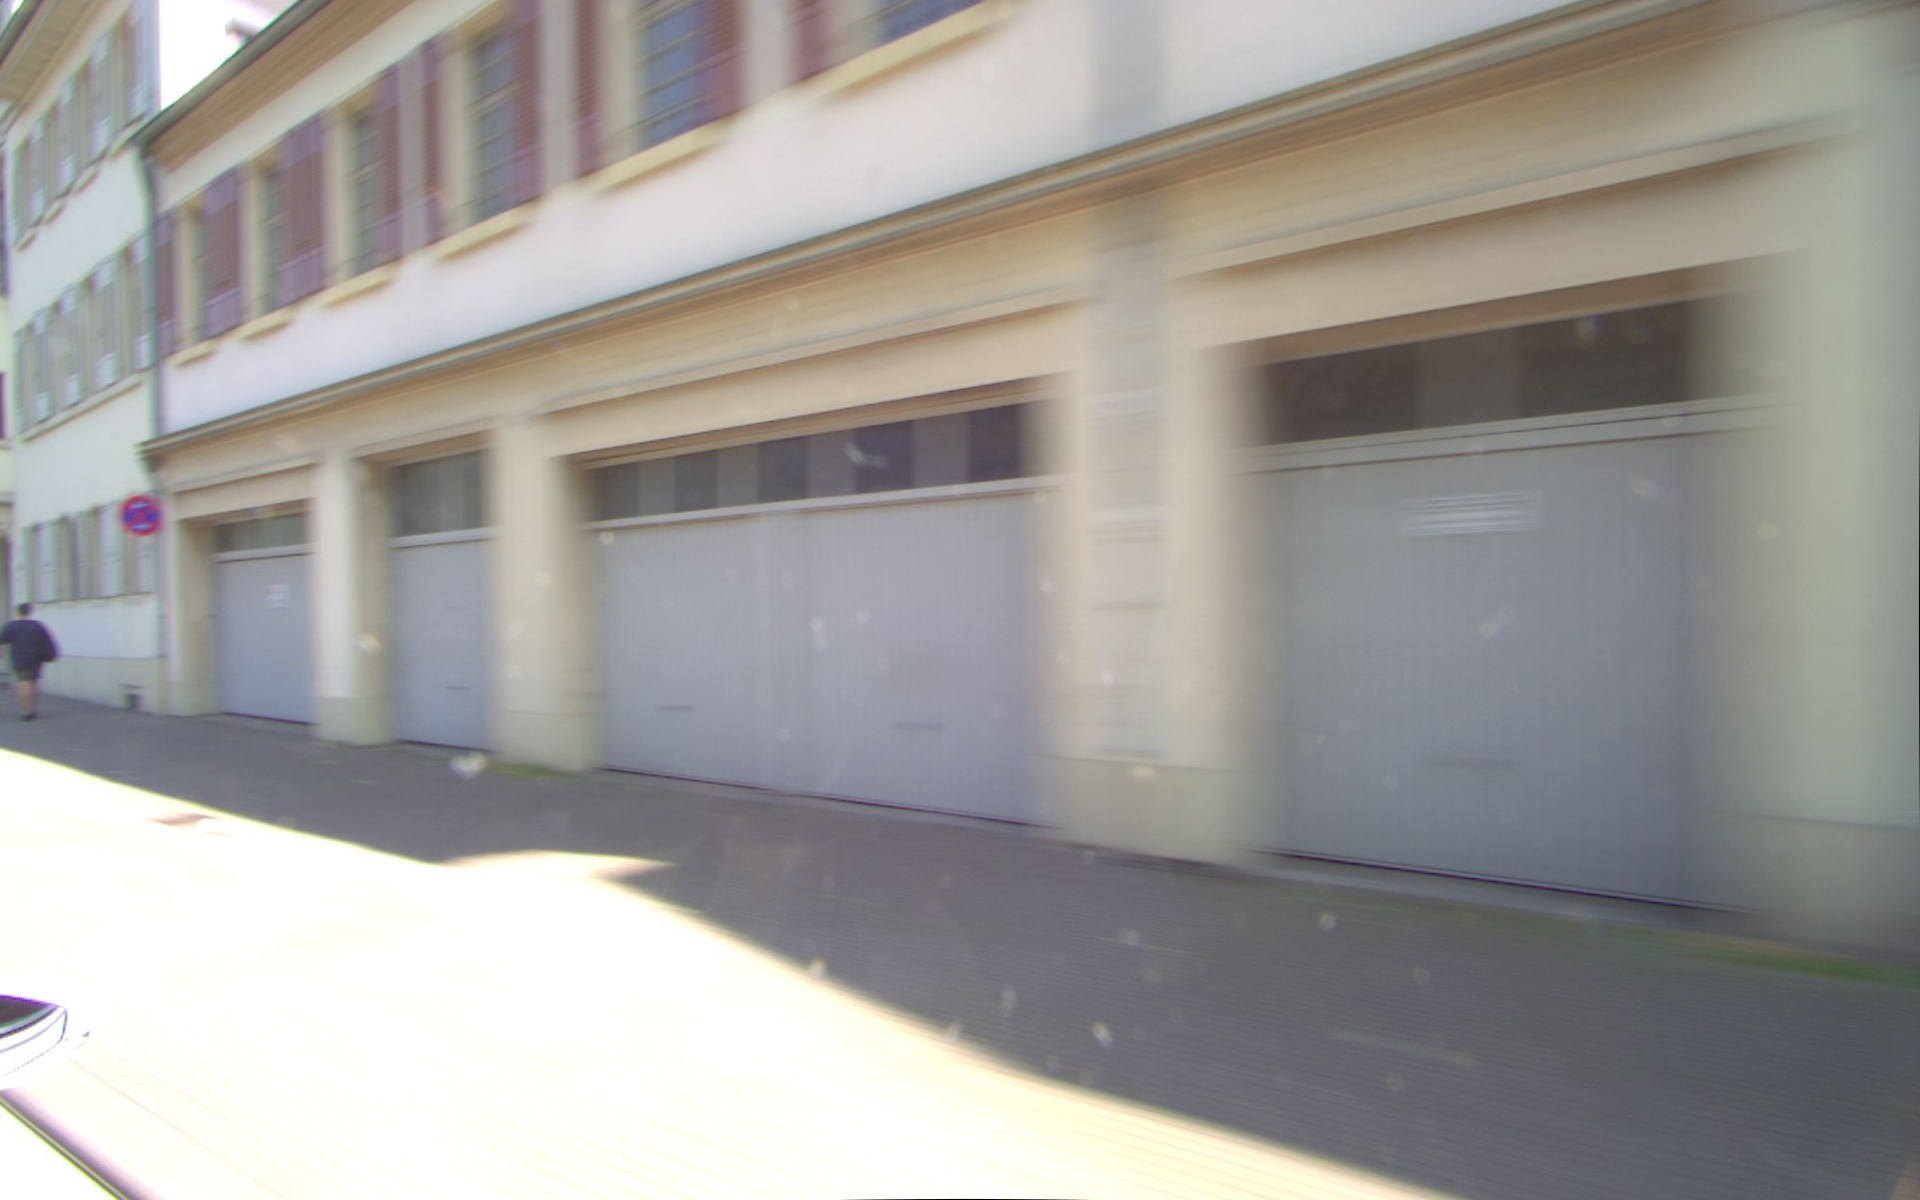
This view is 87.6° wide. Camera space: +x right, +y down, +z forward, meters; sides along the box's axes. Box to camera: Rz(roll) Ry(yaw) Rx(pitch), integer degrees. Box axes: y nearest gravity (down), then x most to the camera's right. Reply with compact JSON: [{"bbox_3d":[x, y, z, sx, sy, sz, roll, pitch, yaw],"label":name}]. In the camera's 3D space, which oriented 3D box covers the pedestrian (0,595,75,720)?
[{"bbox_3d":[-13.690,0.825,14.737,0.686,1.737,0.759,0,3,35],"label":"pedestrian"}]
